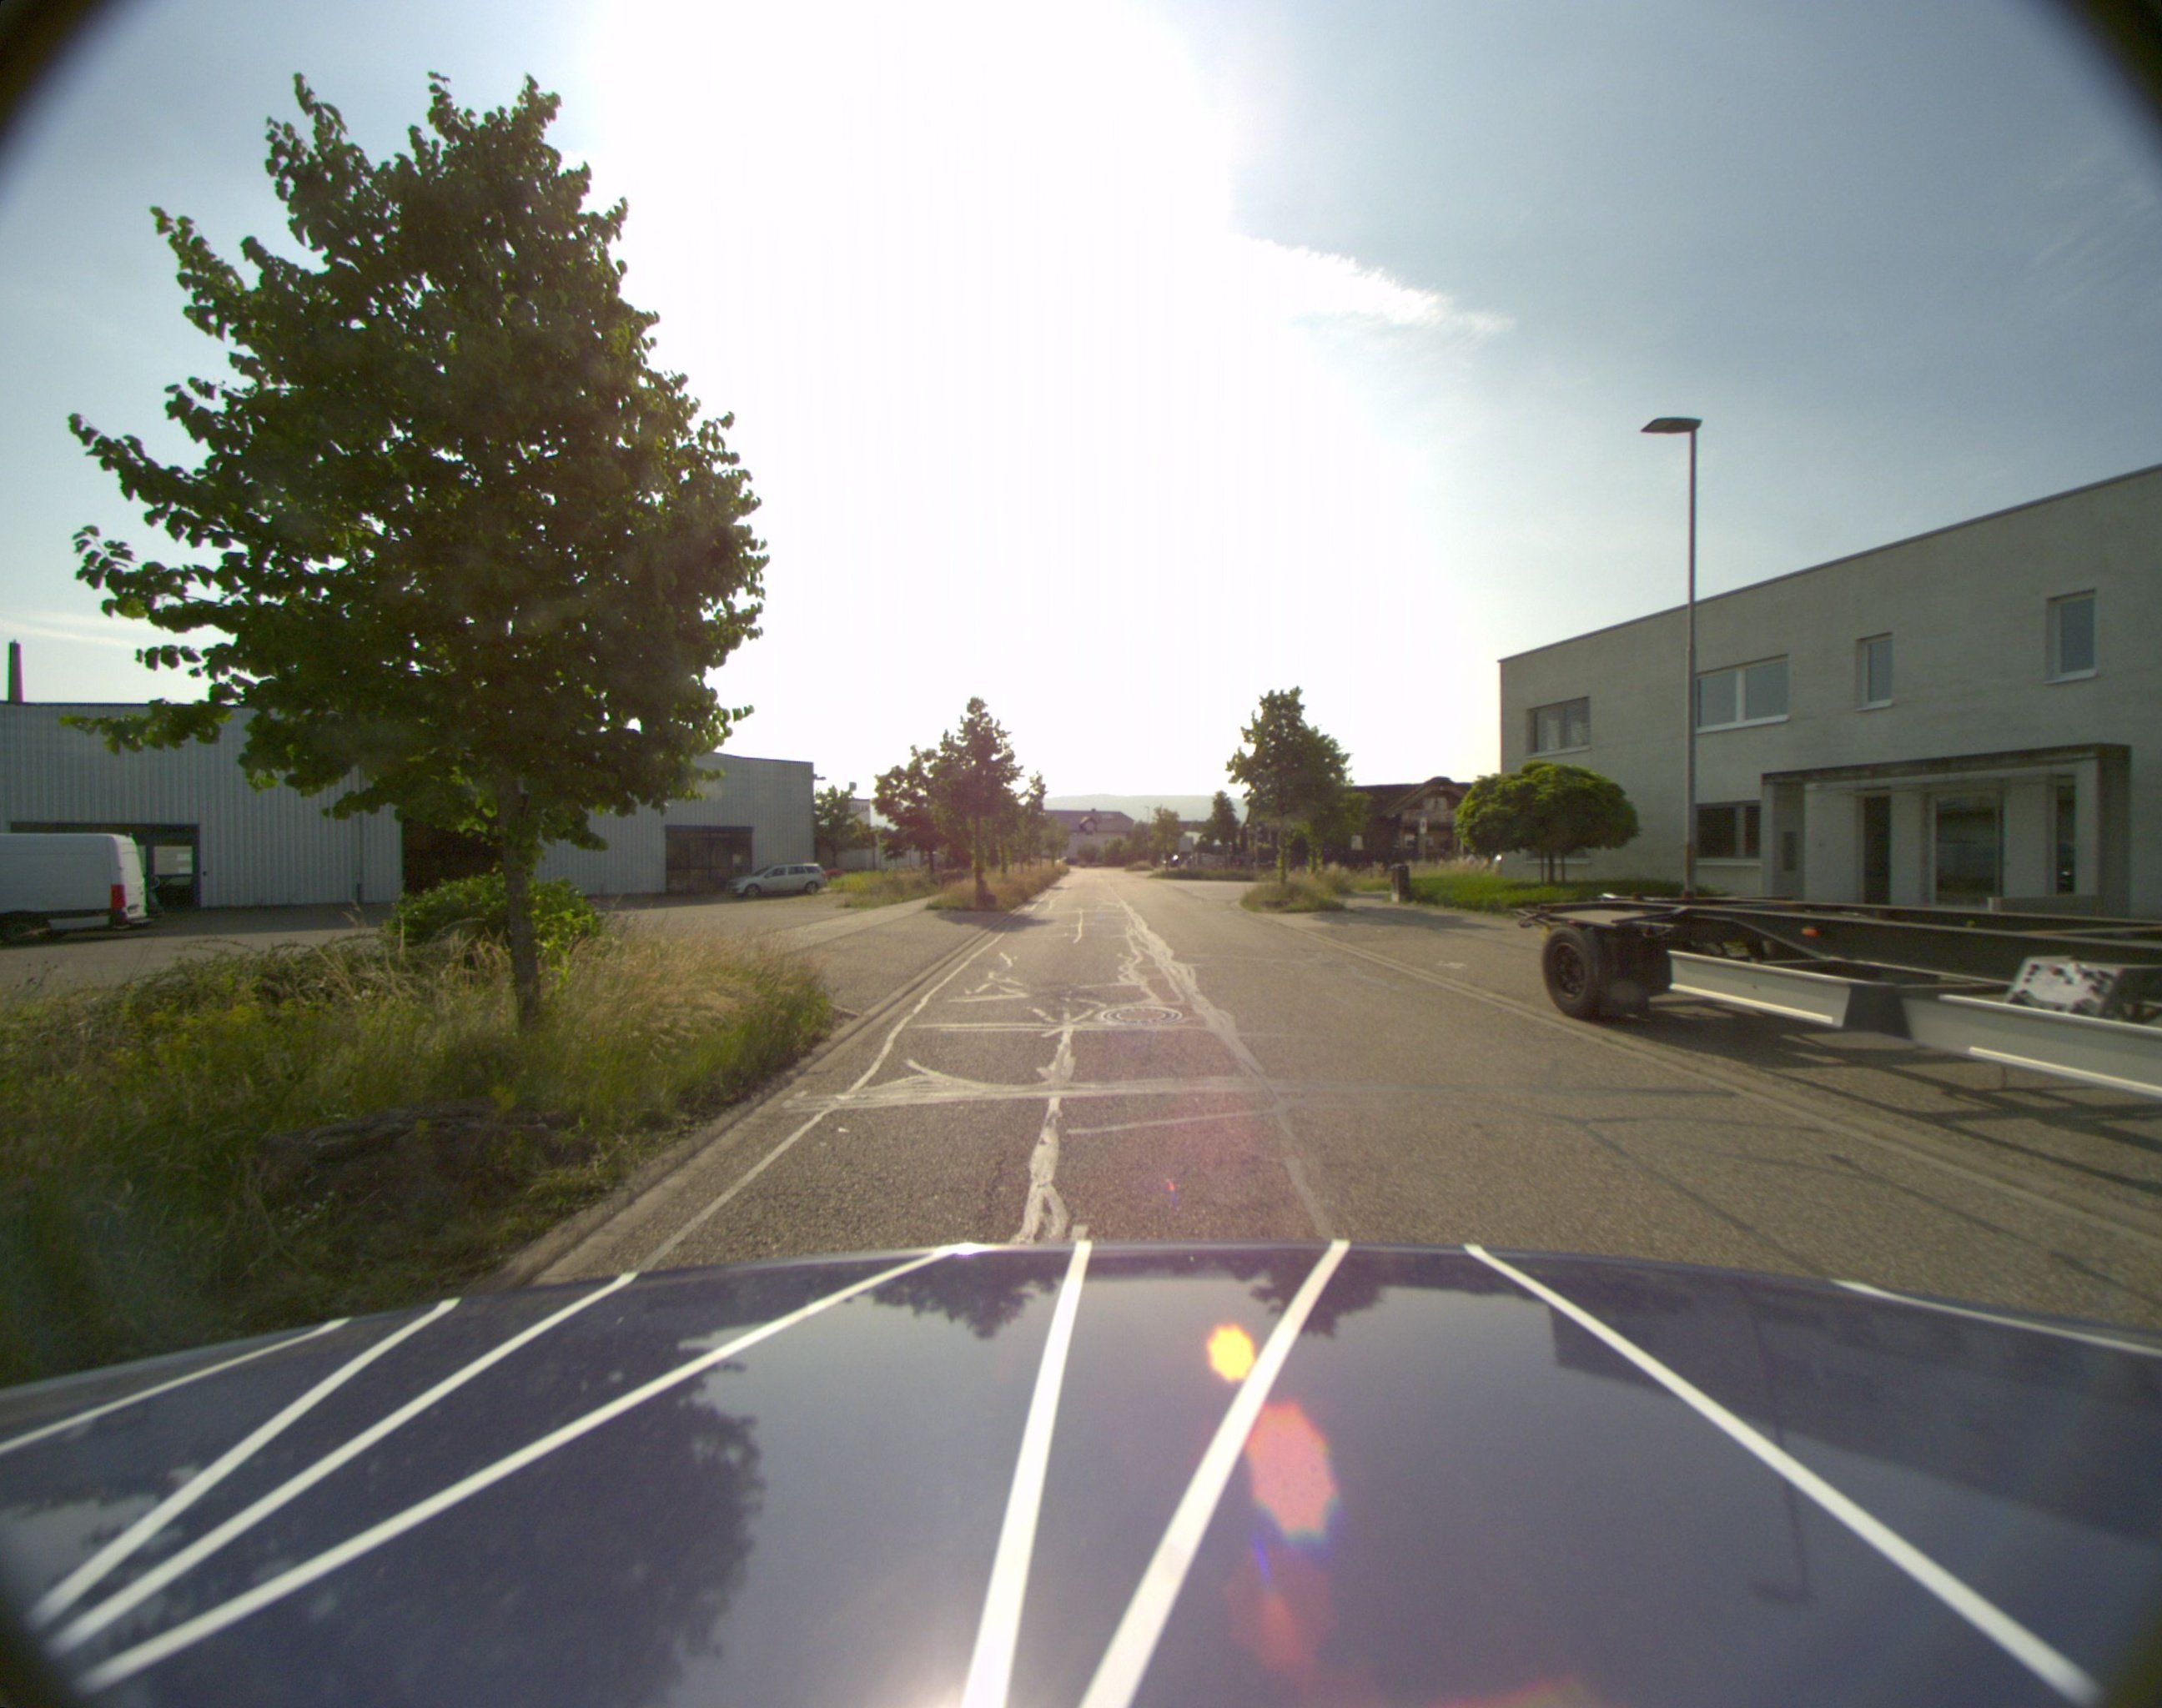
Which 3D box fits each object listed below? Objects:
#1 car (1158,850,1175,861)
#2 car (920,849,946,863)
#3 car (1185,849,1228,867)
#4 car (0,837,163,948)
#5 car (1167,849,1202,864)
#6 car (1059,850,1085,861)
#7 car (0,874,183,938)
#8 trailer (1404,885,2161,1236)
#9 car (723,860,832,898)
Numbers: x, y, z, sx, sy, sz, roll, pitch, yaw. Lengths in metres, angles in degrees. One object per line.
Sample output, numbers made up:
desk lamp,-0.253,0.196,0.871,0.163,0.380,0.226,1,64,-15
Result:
car,12.232,0.178,108.588,1.615,1.472,3.548,-1,0,-6
car,-18.916,0.272,97.188,1.598,1.672,3.761,-2,1,16
car,12.477,0.372,75.841,3.996,1.718,2.000,-1,0,1
car,-26.293,0.907,17.279,6.573,2.511,2.001,-2,2,-40
car,13.438,0.313,98.919,4.004,1.783,1.996,-1,0,-21
car,-1.591,0.243,131.977,4.005,1.761,1.996,-1,0,-23
car,-26.937,1.364,20.328,3.447,1.463,1.699,-3,1,-40
trailer,5.759,1.004,5.771,2.552,1.068,9.731,-2,0,1
car,-14.108,1.106,35.437,4.368,1.554,1.753,0,3,-41
